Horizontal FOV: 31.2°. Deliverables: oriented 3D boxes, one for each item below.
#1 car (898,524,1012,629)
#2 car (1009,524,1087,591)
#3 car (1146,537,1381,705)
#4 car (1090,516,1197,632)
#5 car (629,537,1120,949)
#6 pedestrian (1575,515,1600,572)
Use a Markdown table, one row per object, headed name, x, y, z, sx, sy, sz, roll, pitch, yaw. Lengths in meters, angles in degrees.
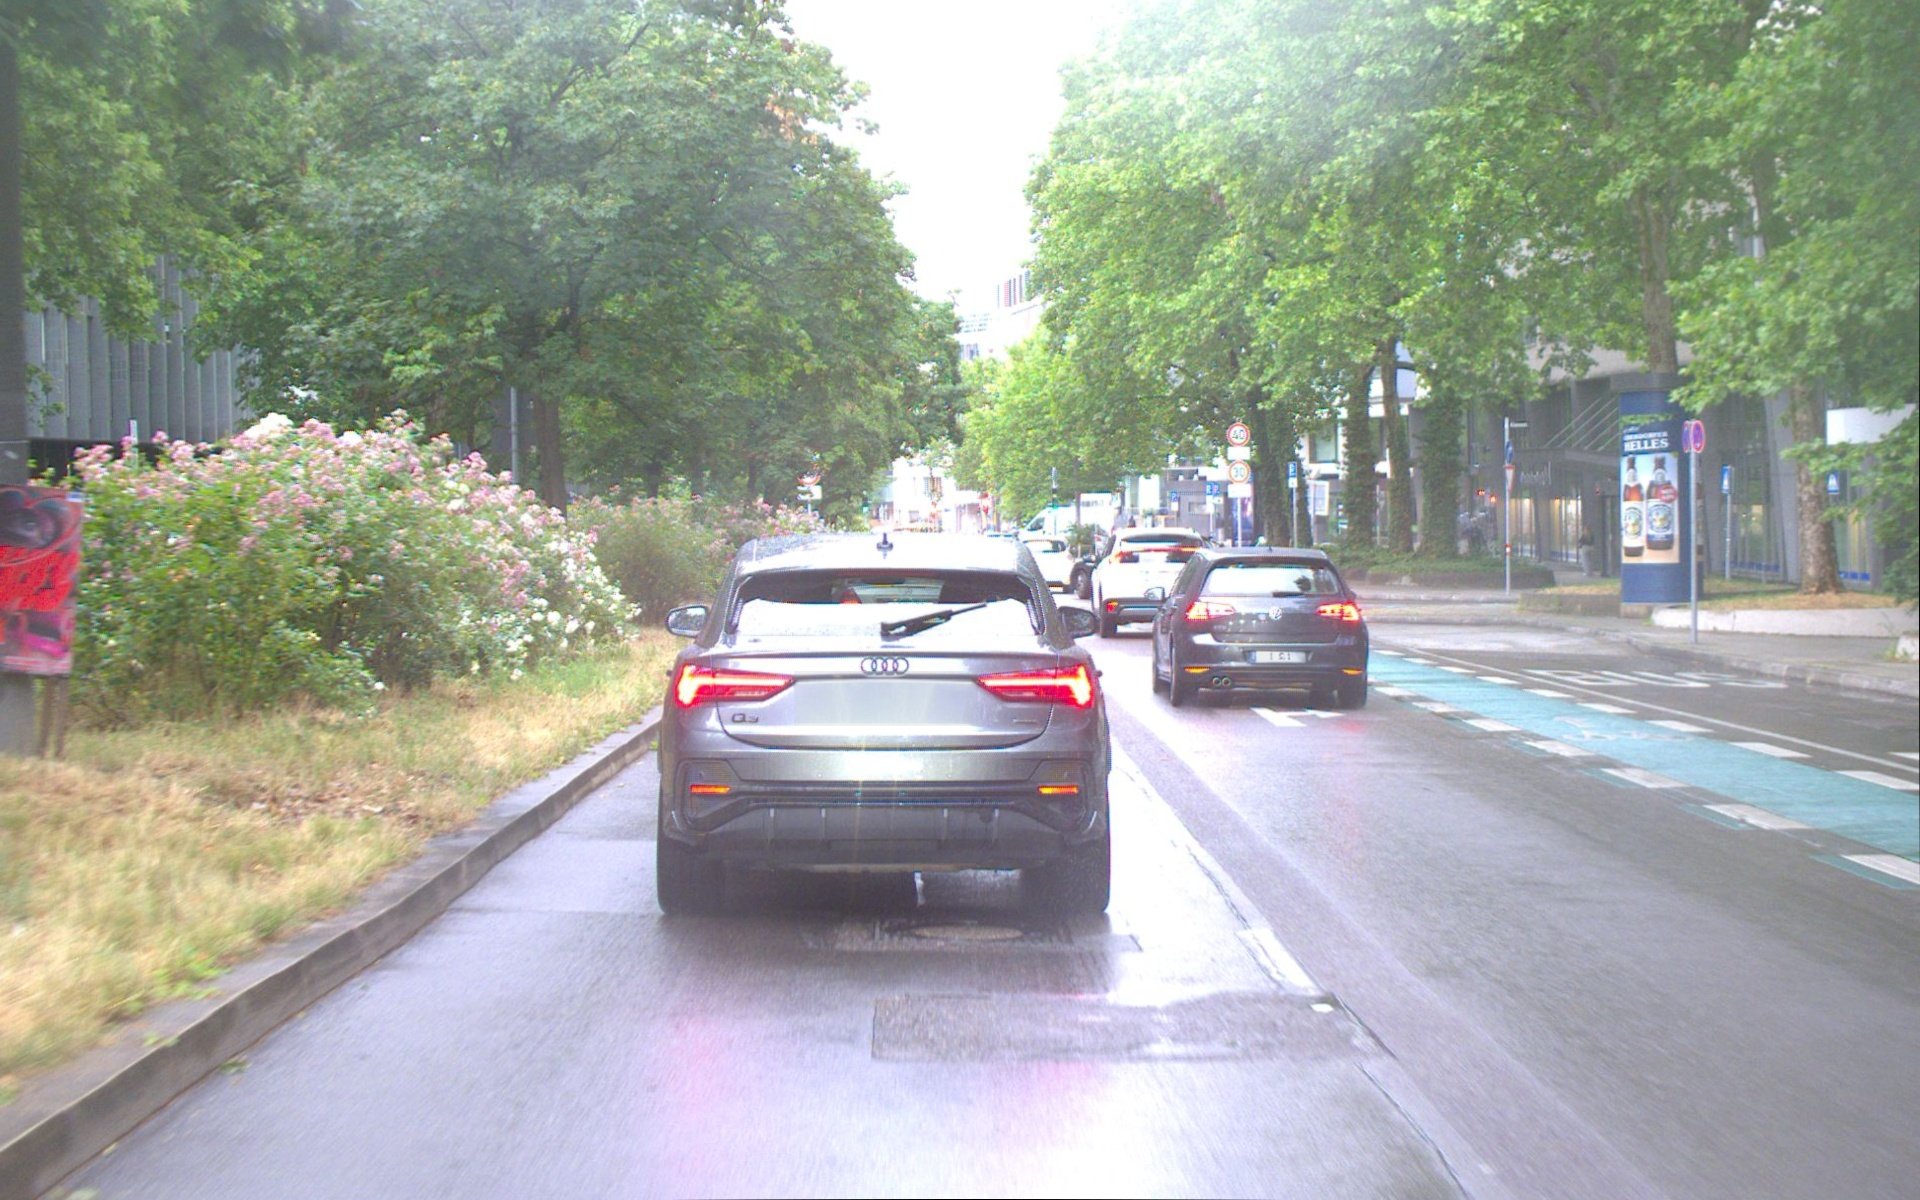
| name | x | y | z | sx | sy | sz | roll | pitch | yaw |
| --- | --- | --- | --- | --- | --- | --- | --- | --- | --- |
| car | -0.088 | -0.406 | 54.230 | 1.721 | 1.572 | 3.962 | 0 | 1 | 0 |
| car | 2.363 | -1.166 | 93.176 | 1.993 | 1.744 | 4.000 | -1 | 1 | 0 |
| car | 2.755 | 0.147 | 31.931 | 1.765 | 1.408 | 4.000 | -1 | 1 | -1 |
| car | 2.755 | -0.421 | 51.928 | 1.433 | 1.679 | 2.979 | -1 | 1 | 0 |
| car | -0.285 | 0.504 | 15.321 | 1.863 | 1.527 | 4.527 | 0 | 1 | 1 |
| pedestrian | 19.977 | -1.805 | 109.442 | 0.650 | 1.809 | 0.655 | 0 | 1 | -1 |
